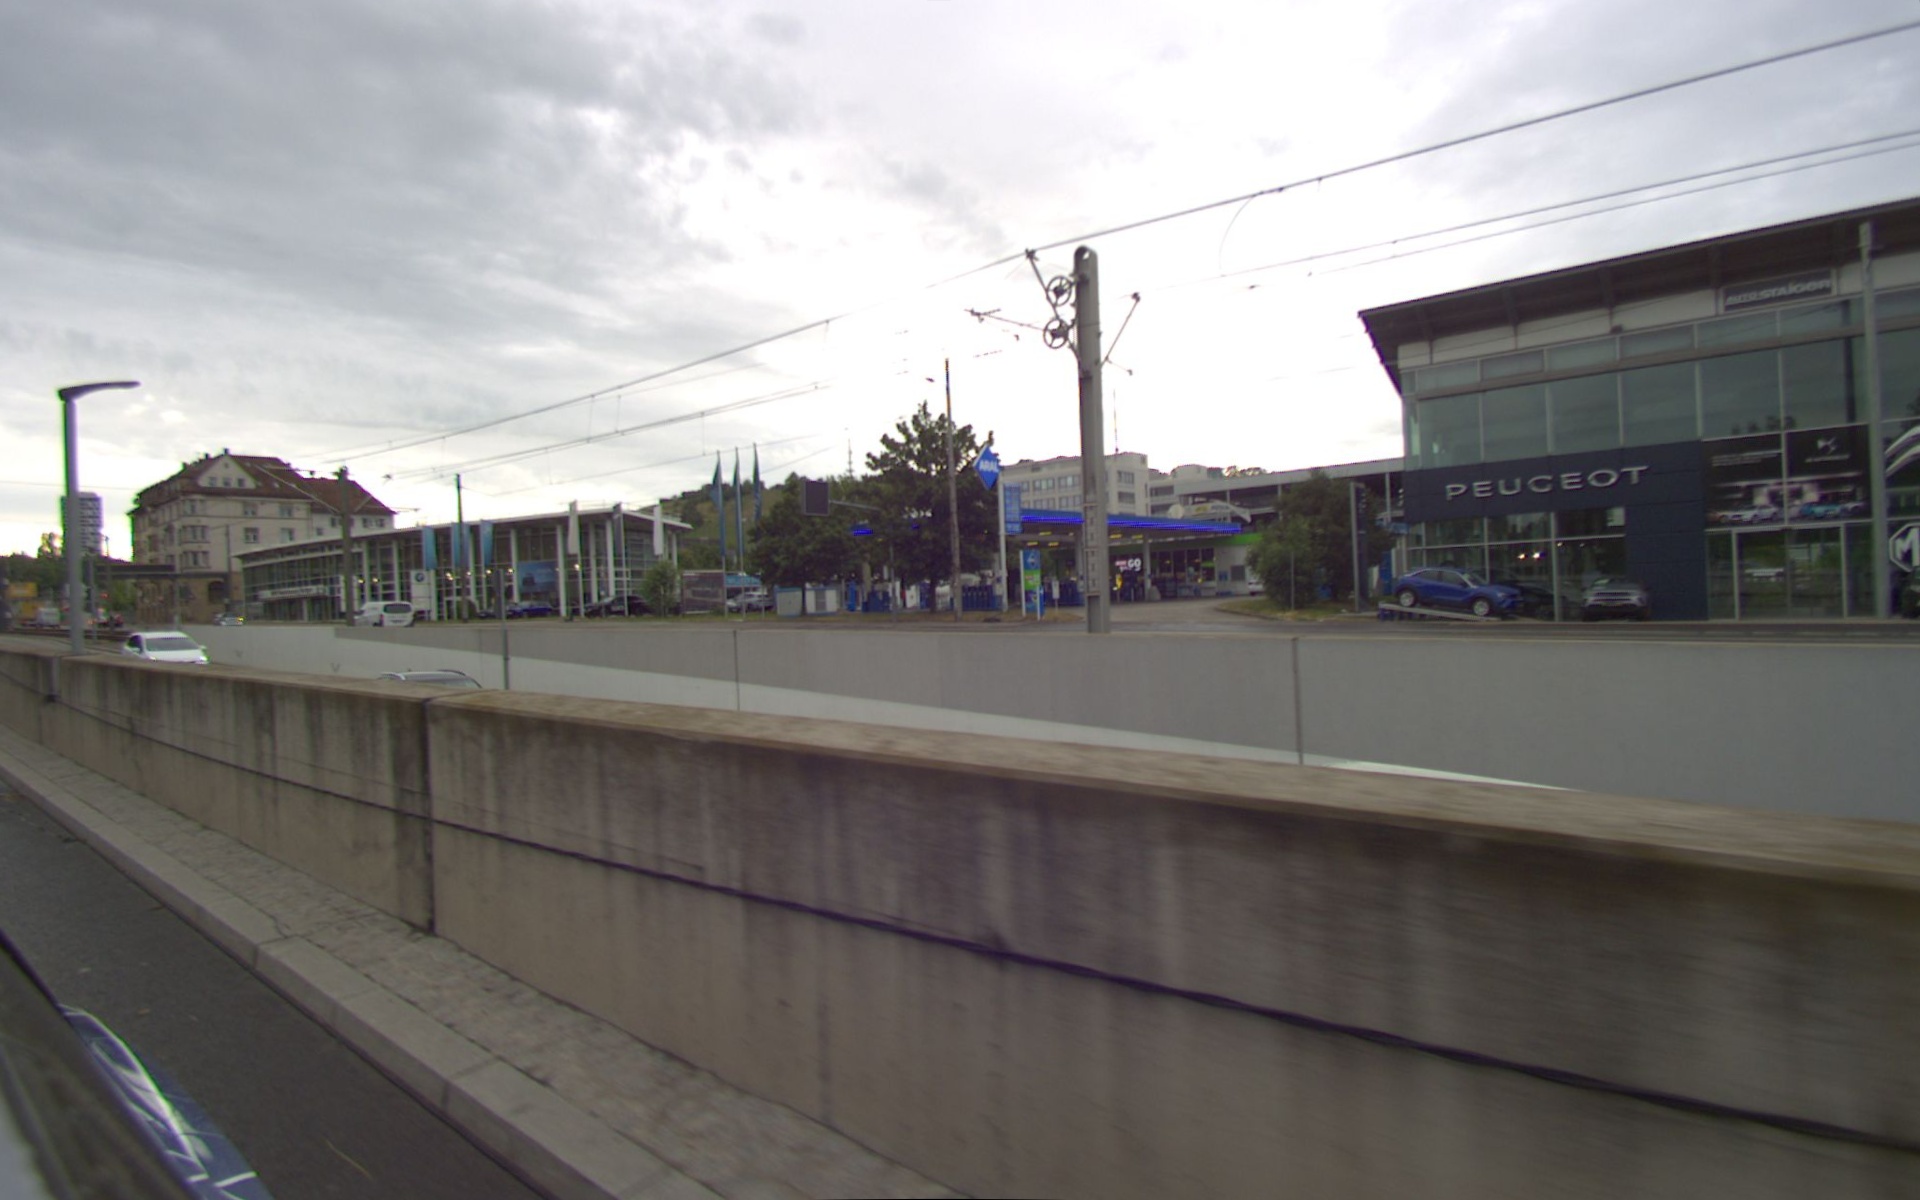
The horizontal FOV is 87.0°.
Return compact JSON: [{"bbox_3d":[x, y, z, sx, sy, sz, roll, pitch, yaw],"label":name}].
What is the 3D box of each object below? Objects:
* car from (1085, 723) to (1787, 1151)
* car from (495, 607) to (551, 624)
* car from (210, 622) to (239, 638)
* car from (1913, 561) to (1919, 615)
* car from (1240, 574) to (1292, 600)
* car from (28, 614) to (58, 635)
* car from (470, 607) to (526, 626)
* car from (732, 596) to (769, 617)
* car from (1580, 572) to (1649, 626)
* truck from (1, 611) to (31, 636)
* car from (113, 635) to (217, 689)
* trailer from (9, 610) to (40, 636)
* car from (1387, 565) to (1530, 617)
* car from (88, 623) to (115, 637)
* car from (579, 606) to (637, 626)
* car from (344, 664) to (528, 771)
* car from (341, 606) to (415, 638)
[{"bbox_3d":[3.505,2.210,8.091,4.716,1.973,1.889,-2,0,42],"label":"car"},{"bbox_3d":[-34.256,1.200,79.405,1.747,1.244,3.974,-1,1,20],"label":"car"},{"bbox_3d":[-64.824,2.633,89.200,2.798,1.309,1.368,-2,1,39],"label":"car"},{"bbox_3d":[27.317,-0.343,27.592,1.749,1.485,3.444,-2,-1,40],"label":"car"},{"bbox_3d":[20.935,-0.879,69.131,1.857,1.652,3.944,-2,0,42],"label":"car"},{"bbox_3d":[-119.388,3.180,131.745,6.160,2.618,2.030,-2,0,40],"label":"car"},{"bbox_3d":[-36.730,1.315,80.498,1.690,1.244,3.974,-4,0,20],"label":"car"},{"bbox_3d":[-16.774,0.521,81.009,2.798,1.584,1.368,-2,1,39],"label":"car"},{"bbox_3d":[21.061,0.009,32.522,1.572,1.413,3.470,-3,-6,37],"label":"car"},{"bbox_3d":[-162.009,3.996,173.624,10.135,4.082,2.656,-1,0,40],"label":"truck"},{"bbox_3d":[-26.598,2.017,33.800,4.316,1.585,1.956,-2,0,41],"label":"car"},{"bbox_3d":[-154.748,3.819,167.439,9.076,4.082,2.656,-1,0,40],"label":"trailer"},{"bbox_3d":[17.270,-0.358,35.203,1.740,1.621,4.073,-2,4,-42],"label":"car"},{"bbox_3d":[-101.970,3.550,120.171,4.337,1.527,1.724,-2,0,41],"label":"car"},{"bbox_3d":[-25.001,1.149,71.939,1.717,1.284,3.476,-1,1,45],"label":"car"},{"bbox_3d":[-9.714,2.058,18.647,3.894,1.585,1.686,-2,0,41],"label":"car"},{"bbox_3d":[-32.981,1.247,57.294,5.031,1.708,1.980,-2,0,40],"label":"car"}]
